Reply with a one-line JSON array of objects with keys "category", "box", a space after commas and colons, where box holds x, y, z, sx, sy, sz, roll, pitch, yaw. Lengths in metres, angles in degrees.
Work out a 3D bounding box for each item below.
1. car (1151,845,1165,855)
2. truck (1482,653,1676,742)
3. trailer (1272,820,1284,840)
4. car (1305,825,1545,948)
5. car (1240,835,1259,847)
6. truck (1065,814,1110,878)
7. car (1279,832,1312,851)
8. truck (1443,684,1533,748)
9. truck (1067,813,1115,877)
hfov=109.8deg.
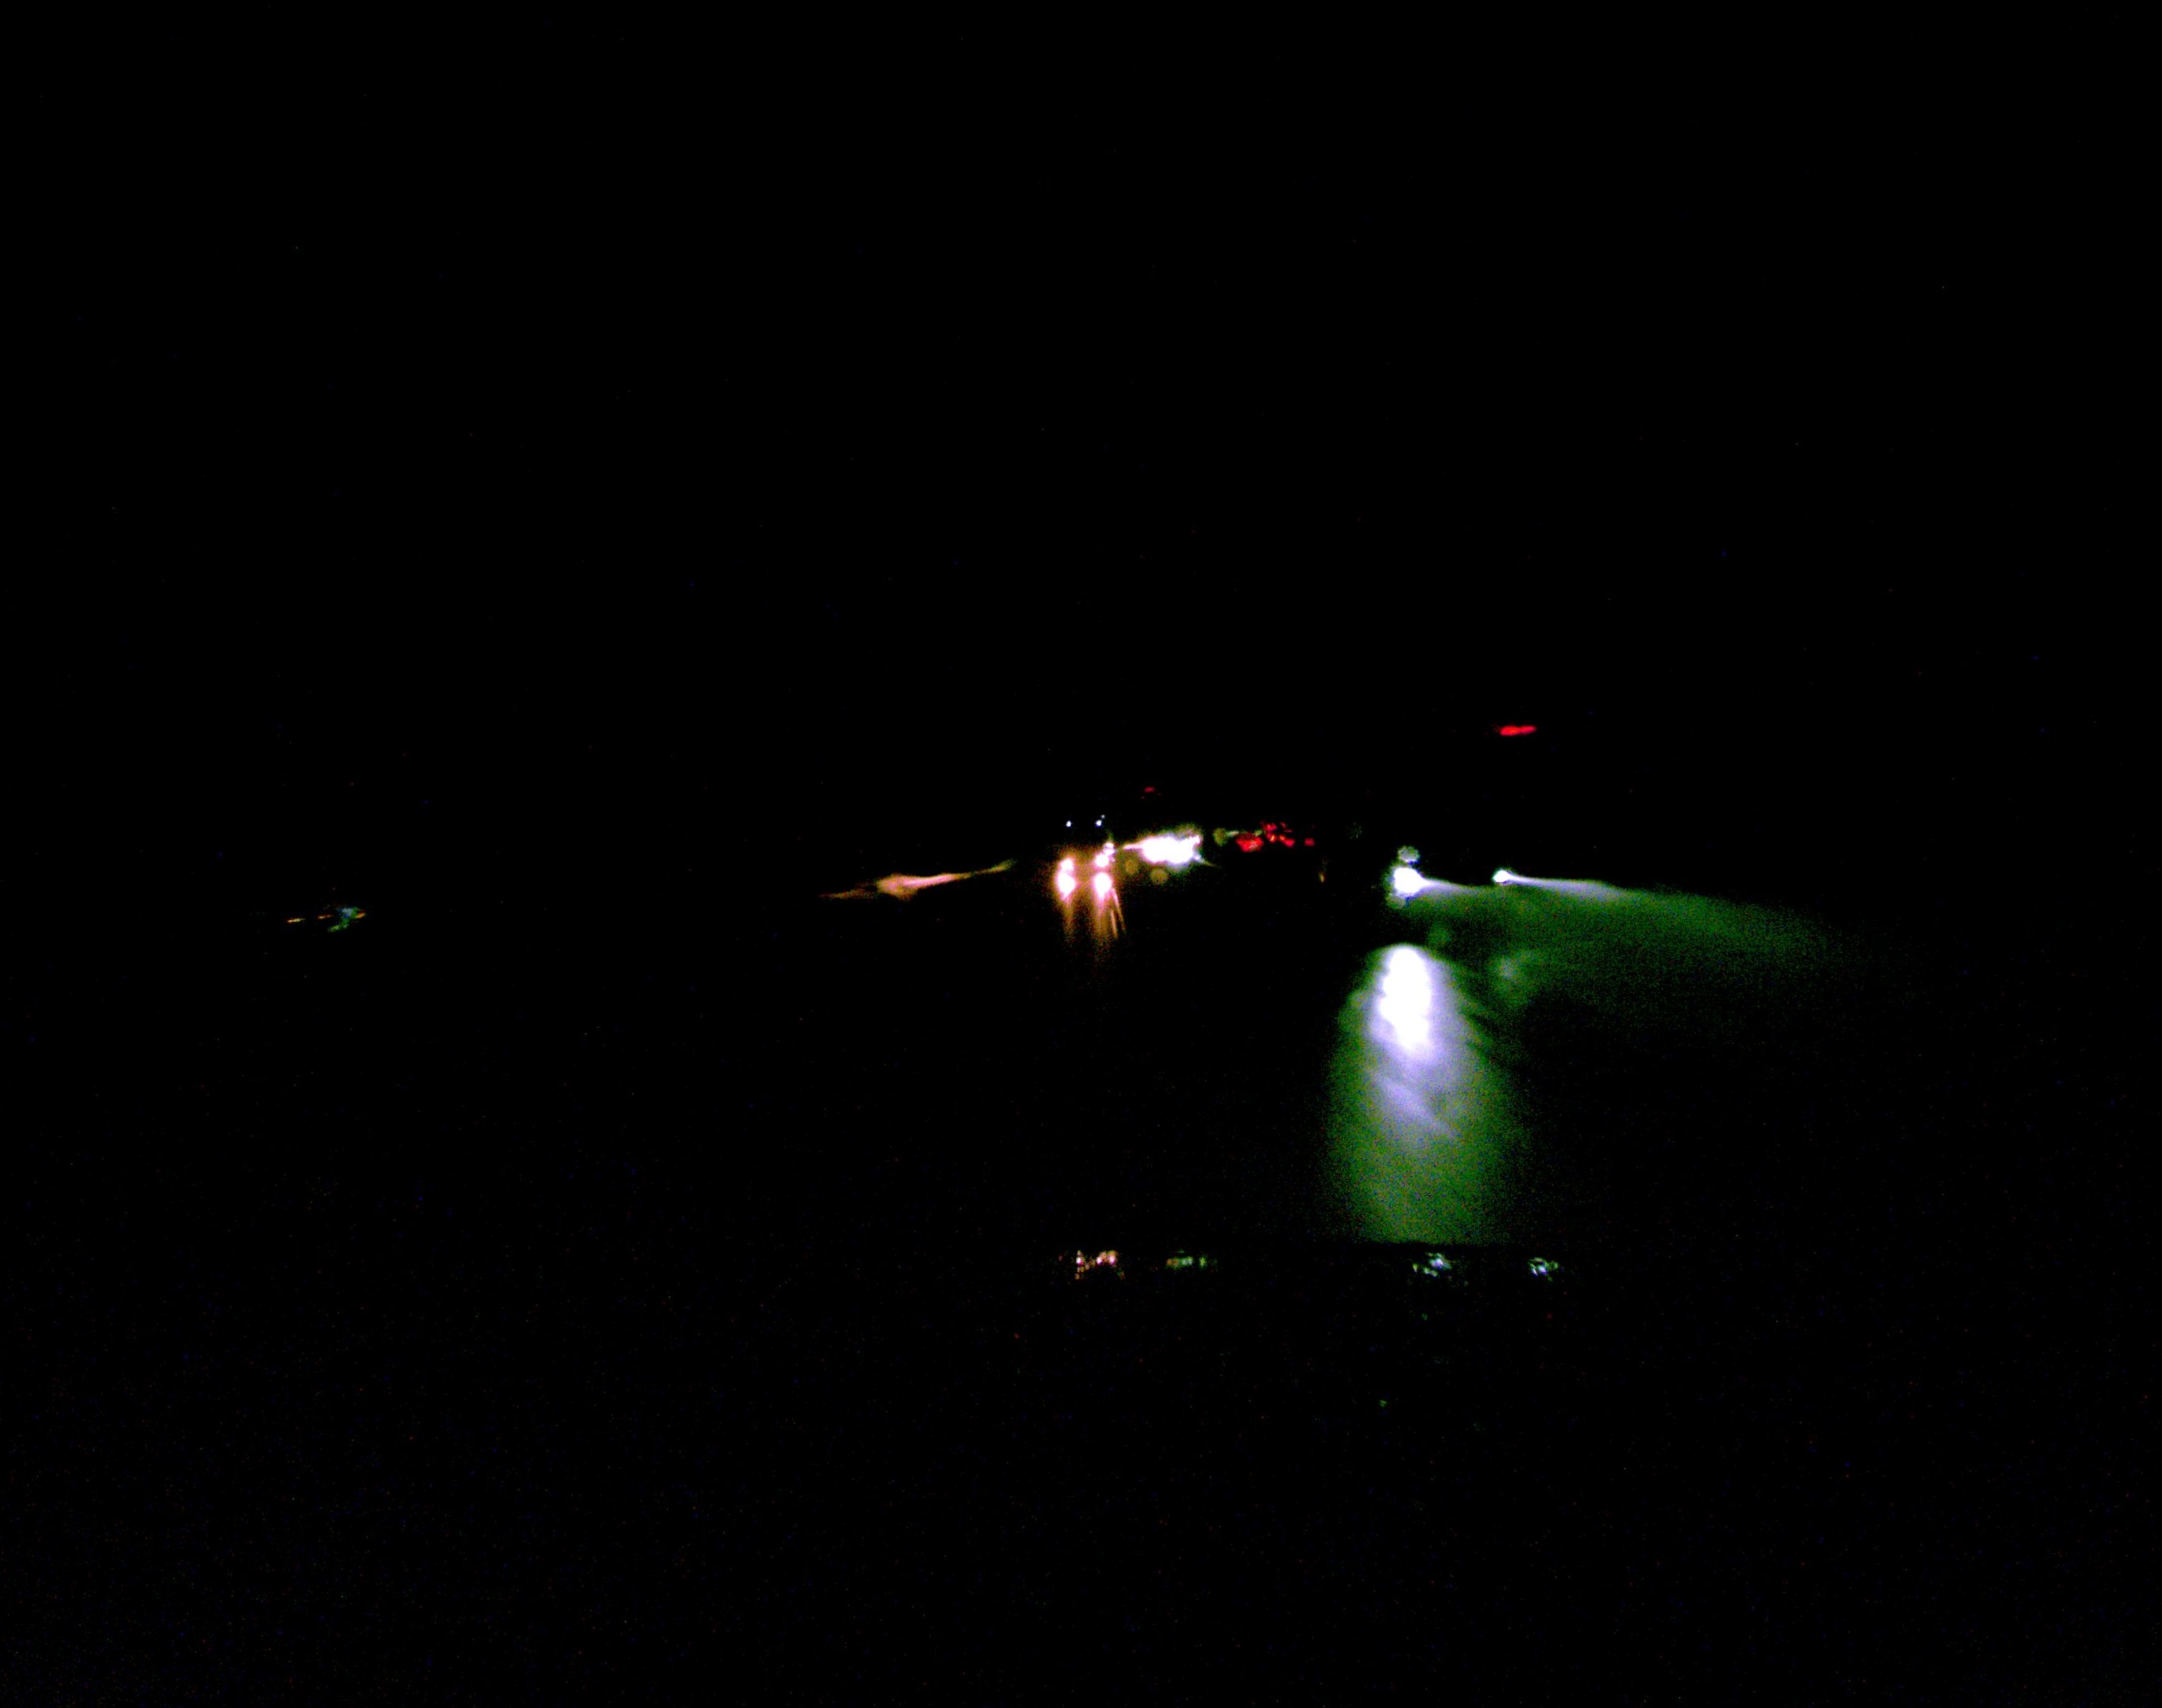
[{"category": "car", "box": [12.772, -0.704, 125.845, 1.998, 1.553, 4.645, -2, 2, 3]}, {"category": "truck", "box": [32.150, -9.933, 49.921, 2.420, 3.759, 11.209, -3, 2, -22]}, {"category": "trailer", "box": [52.255, -6.335, 201.507, 2.778, 4.947, 14.116, -2, 2, 14]}, {"category": "car", "box": [6.261, 0.436, 14.778, 2.142, 1.874, 5.553, -2, 2, 0]}, {"category": "car", "box": [21.623, -1.696, 97.540, 1.746, 1.484, 4.000, -2, 1, 3]}, {"category": "truck", "box": [0.571, -0.645, 53.956, 2.502, 4.224, 5.982, -2, 2, 6]}, {"category": "car", "box": [17.939, -1.058, 63.762, 1.746, 1.484, 4.000, -2, 1, 3]}, {"category": "truck", "box": [29.741, -9.975, 55.721, 2.420, 3.759, 5.419, -3, 2, -22]}, {"category": "truck", "box": [0.959, -0.828, 57.929, 2.502, 4.224, 13.643, -2, 2, 5]}]
